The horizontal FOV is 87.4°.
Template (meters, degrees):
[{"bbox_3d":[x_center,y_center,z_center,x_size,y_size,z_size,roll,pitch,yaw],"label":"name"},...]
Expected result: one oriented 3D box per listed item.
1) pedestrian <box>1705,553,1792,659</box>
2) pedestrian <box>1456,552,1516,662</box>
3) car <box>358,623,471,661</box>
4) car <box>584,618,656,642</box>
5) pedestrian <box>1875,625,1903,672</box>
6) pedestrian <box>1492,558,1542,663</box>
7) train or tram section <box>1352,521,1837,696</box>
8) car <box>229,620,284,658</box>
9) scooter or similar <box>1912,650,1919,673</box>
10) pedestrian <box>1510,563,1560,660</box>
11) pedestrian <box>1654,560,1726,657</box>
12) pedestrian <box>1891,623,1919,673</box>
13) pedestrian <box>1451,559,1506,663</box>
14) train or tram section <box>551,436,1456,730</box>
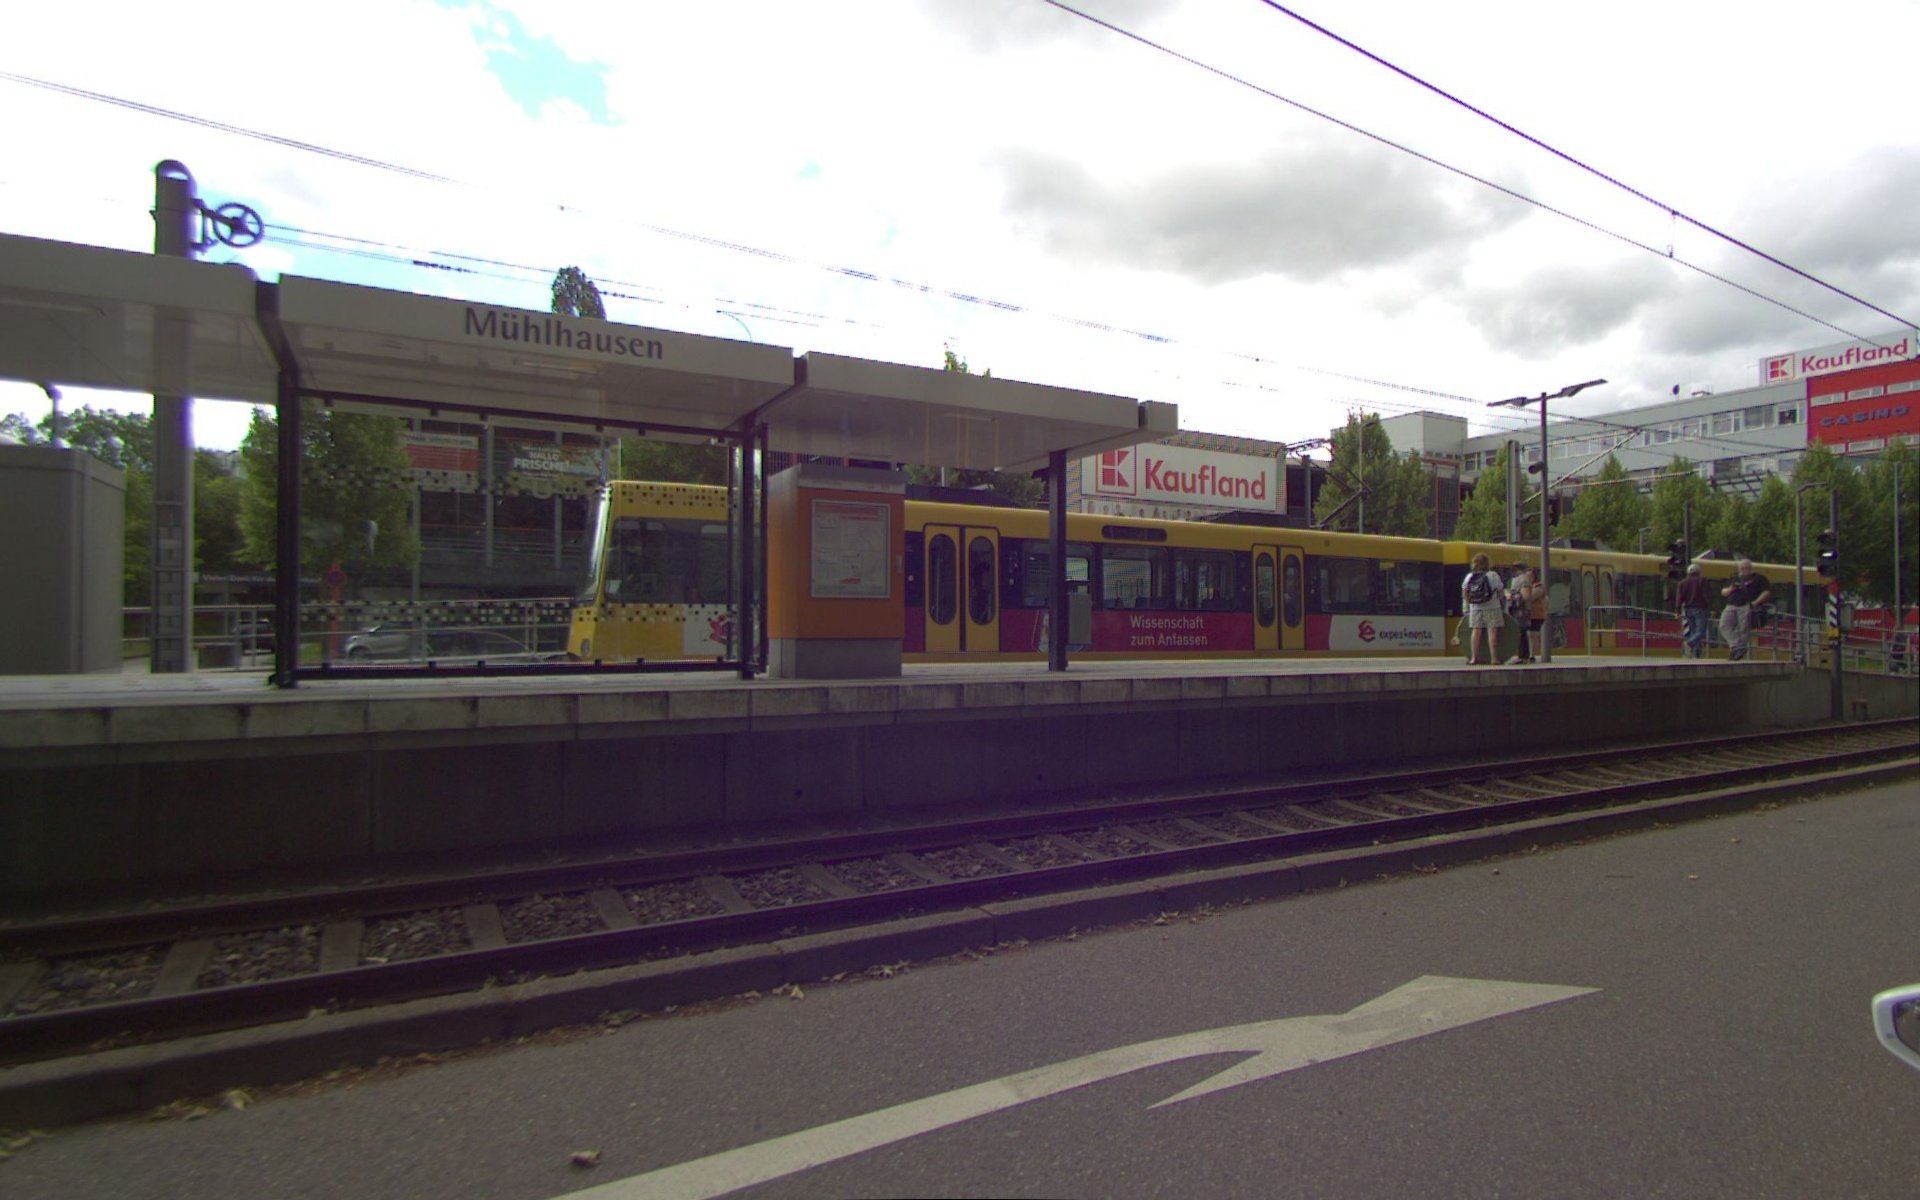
[{"bbox_3d":[13.058,0.116,16.668,0.858,1.700,0.746,-1,-3,14],"label":"pedestrian"},{"bbox_3d":[7.287,0.109,13.940,0.570,1.502,0.521,-1,-3,8],"label":"pedestrian"},{"bbox_3d":[-19.631,1.515,36.245,3.499,1.327,1.528,1,-3,-29],"label":"car"},{"bbox_3d":[-20.824,1.841,61.553,3.915,1.476,1.760,1,-2,-30],"label":"car"},{"bbox_3d":[33.229,1.729,35.923,0.458,1.683,0.516,1,-3,-19],"label":"pedestrian"},{"bbox_3d":[8.064,0.154,14.539,0.632,1.484,0.359,1,-1,-31],"label":"pedestrian"},{"bbox_3d":[18.407,0.429,27.958,18.400,3.878,2.746,1,-3,-29],"label":"train or tram section"},{"bbox_3d":[-33.307,1.830,47.632,1.625,1.728,3.785,1,-2,-28],"label":"car"},{"bbox_3d":[32.334,2.039,33.477,0.784,0.778,0.497,0,-3,-9],"label":"scooter or similar"},{"bbox_3d":[8.580,0.184,15.001,0.407,1.424,0.476,1,-3,-31],"label":"pedestrian"},{"bbox_3d":[13.119,0.173,18.057,0.781,1.700,0.768,1,-3,-30],"label":"pedestrian"},{"bbox_3d":[32.264,1.629,34.055,0.781,1.675,0.614,0,-3,-9],"label":"pedestrian"},{"bbox_3d":[7.708,0.175,14.933,0.535,1.502,0.473,1,-3,-28],"label":"pedestrian"},{"bbox_3d":[2.266,0.008,19.075,18.401,3.933,2.745,1,-3,-29],"label":"train or tram section"}]
